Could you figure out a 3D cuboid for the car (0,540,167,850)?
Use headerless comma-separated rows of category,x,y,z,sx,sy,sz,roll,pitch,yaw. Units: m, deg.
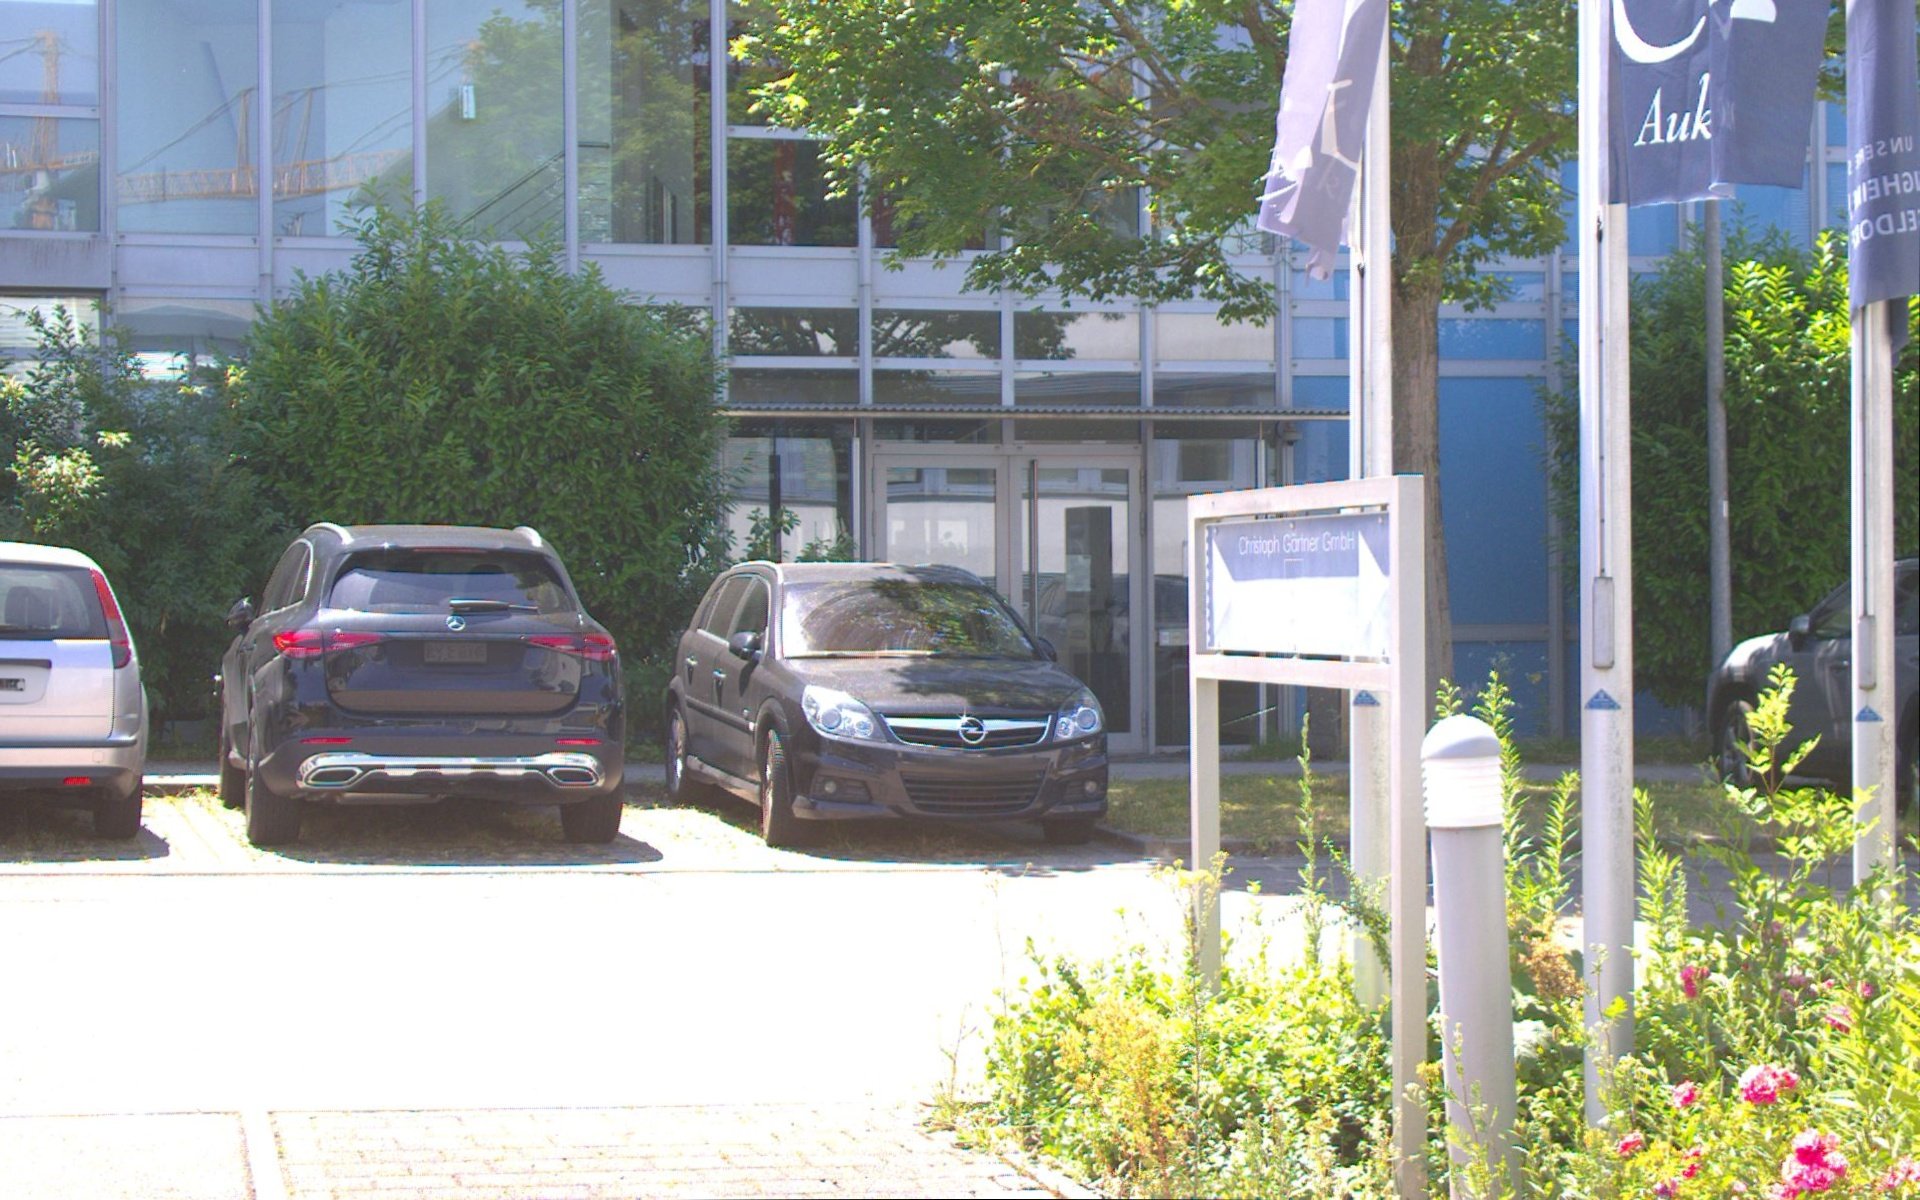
car,-5.305,0.419,18.130,1.764,1.444,3.655,1,1,-19

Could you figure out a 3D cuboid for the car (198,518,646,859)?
car,-3.009,0.394,18.525,1.926,1.605,3.988,1,1,-15

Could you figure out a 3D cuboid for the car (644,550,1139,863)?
car,-0.514,0.493,19.131,1.769,1.477,4.260,0,2,-15

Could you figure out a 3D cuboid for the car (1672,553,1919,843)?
car,6.132,0.559,20.731,1.819,1.614,4.341,0,2,-15
